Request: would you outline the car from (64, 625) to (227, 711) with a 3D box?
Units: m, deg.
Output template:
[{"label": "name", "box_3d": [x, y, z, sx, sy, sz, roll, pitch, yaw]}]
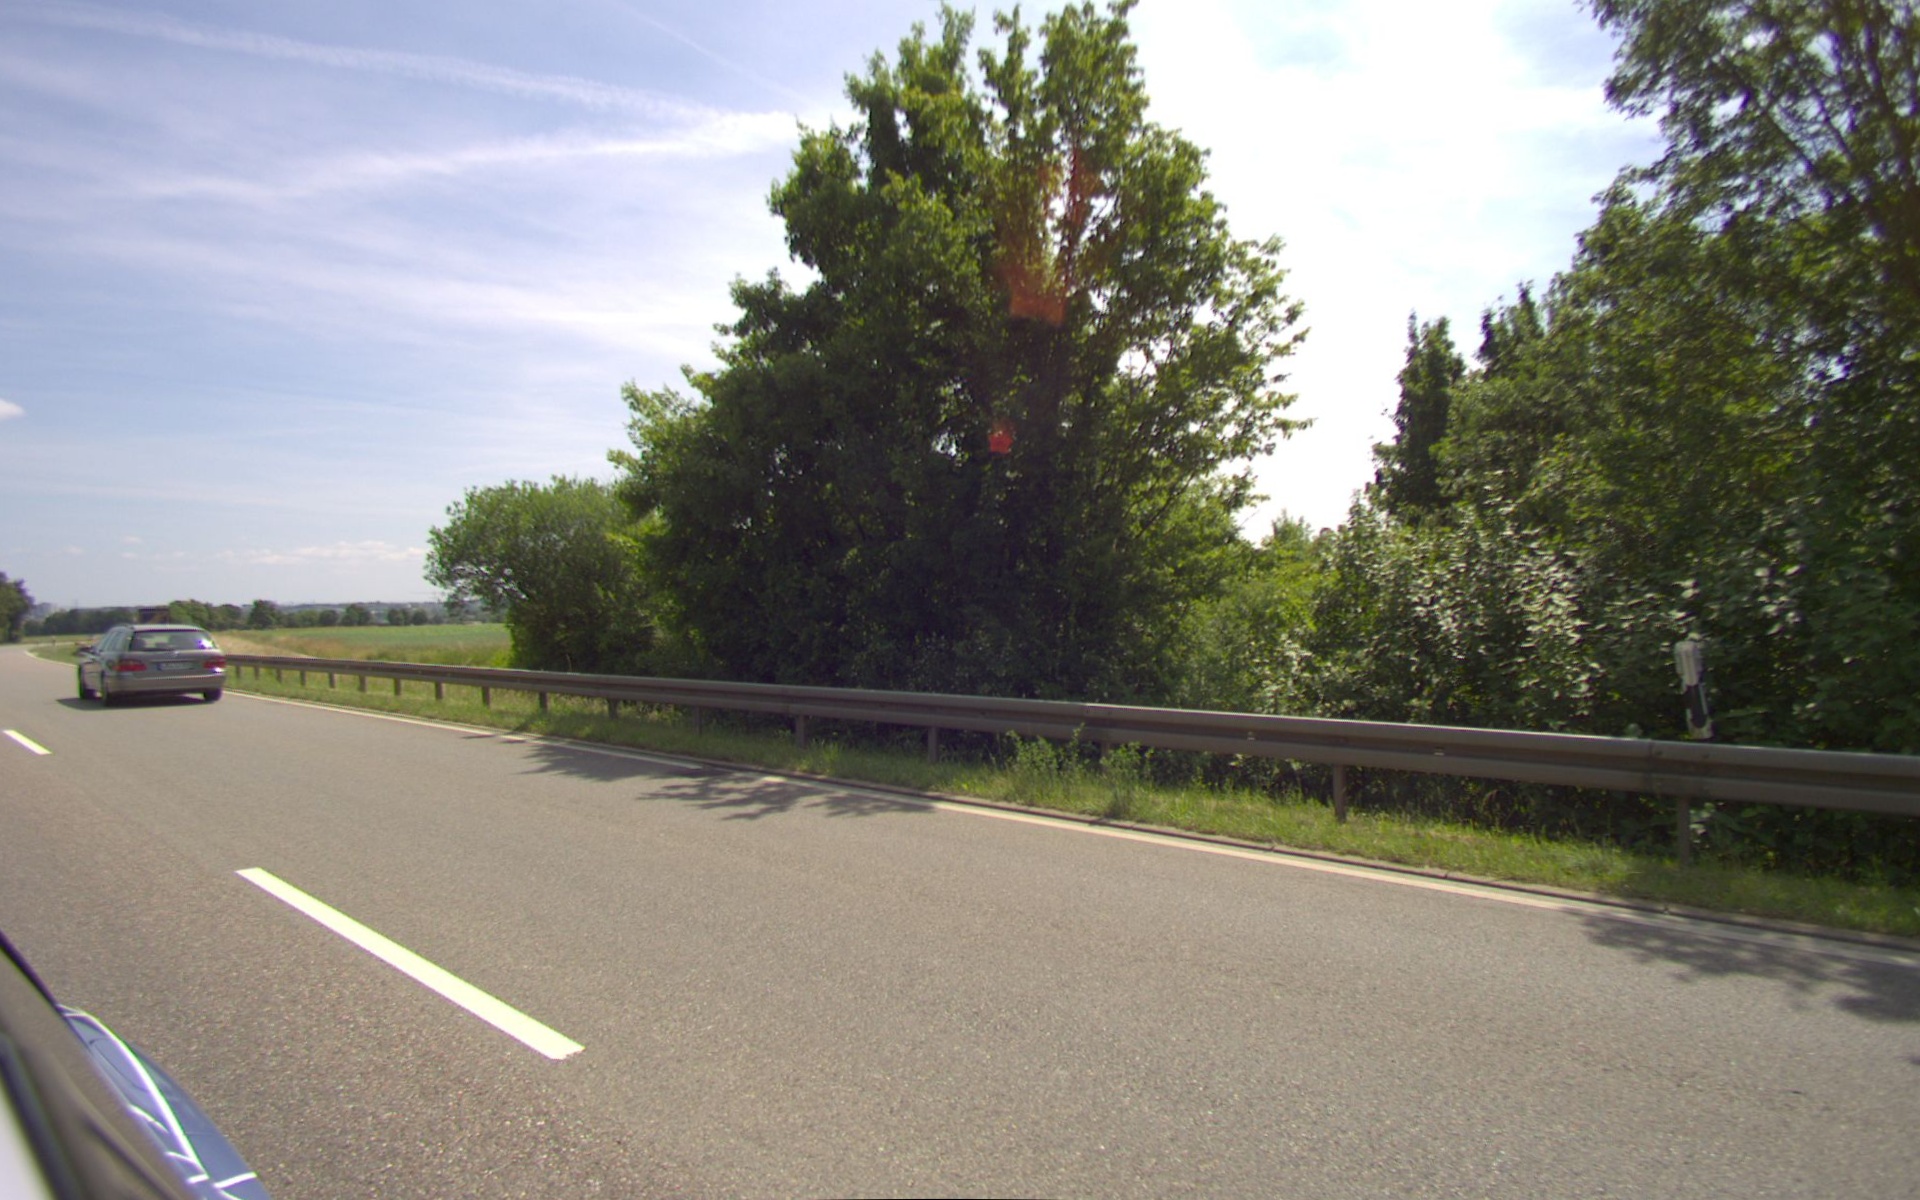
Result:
[{"label": "car", "box_3d": [-16.189, 1.257, 20.010, 5.126, 1.478, 1.725, -2, -2, 42]}]
